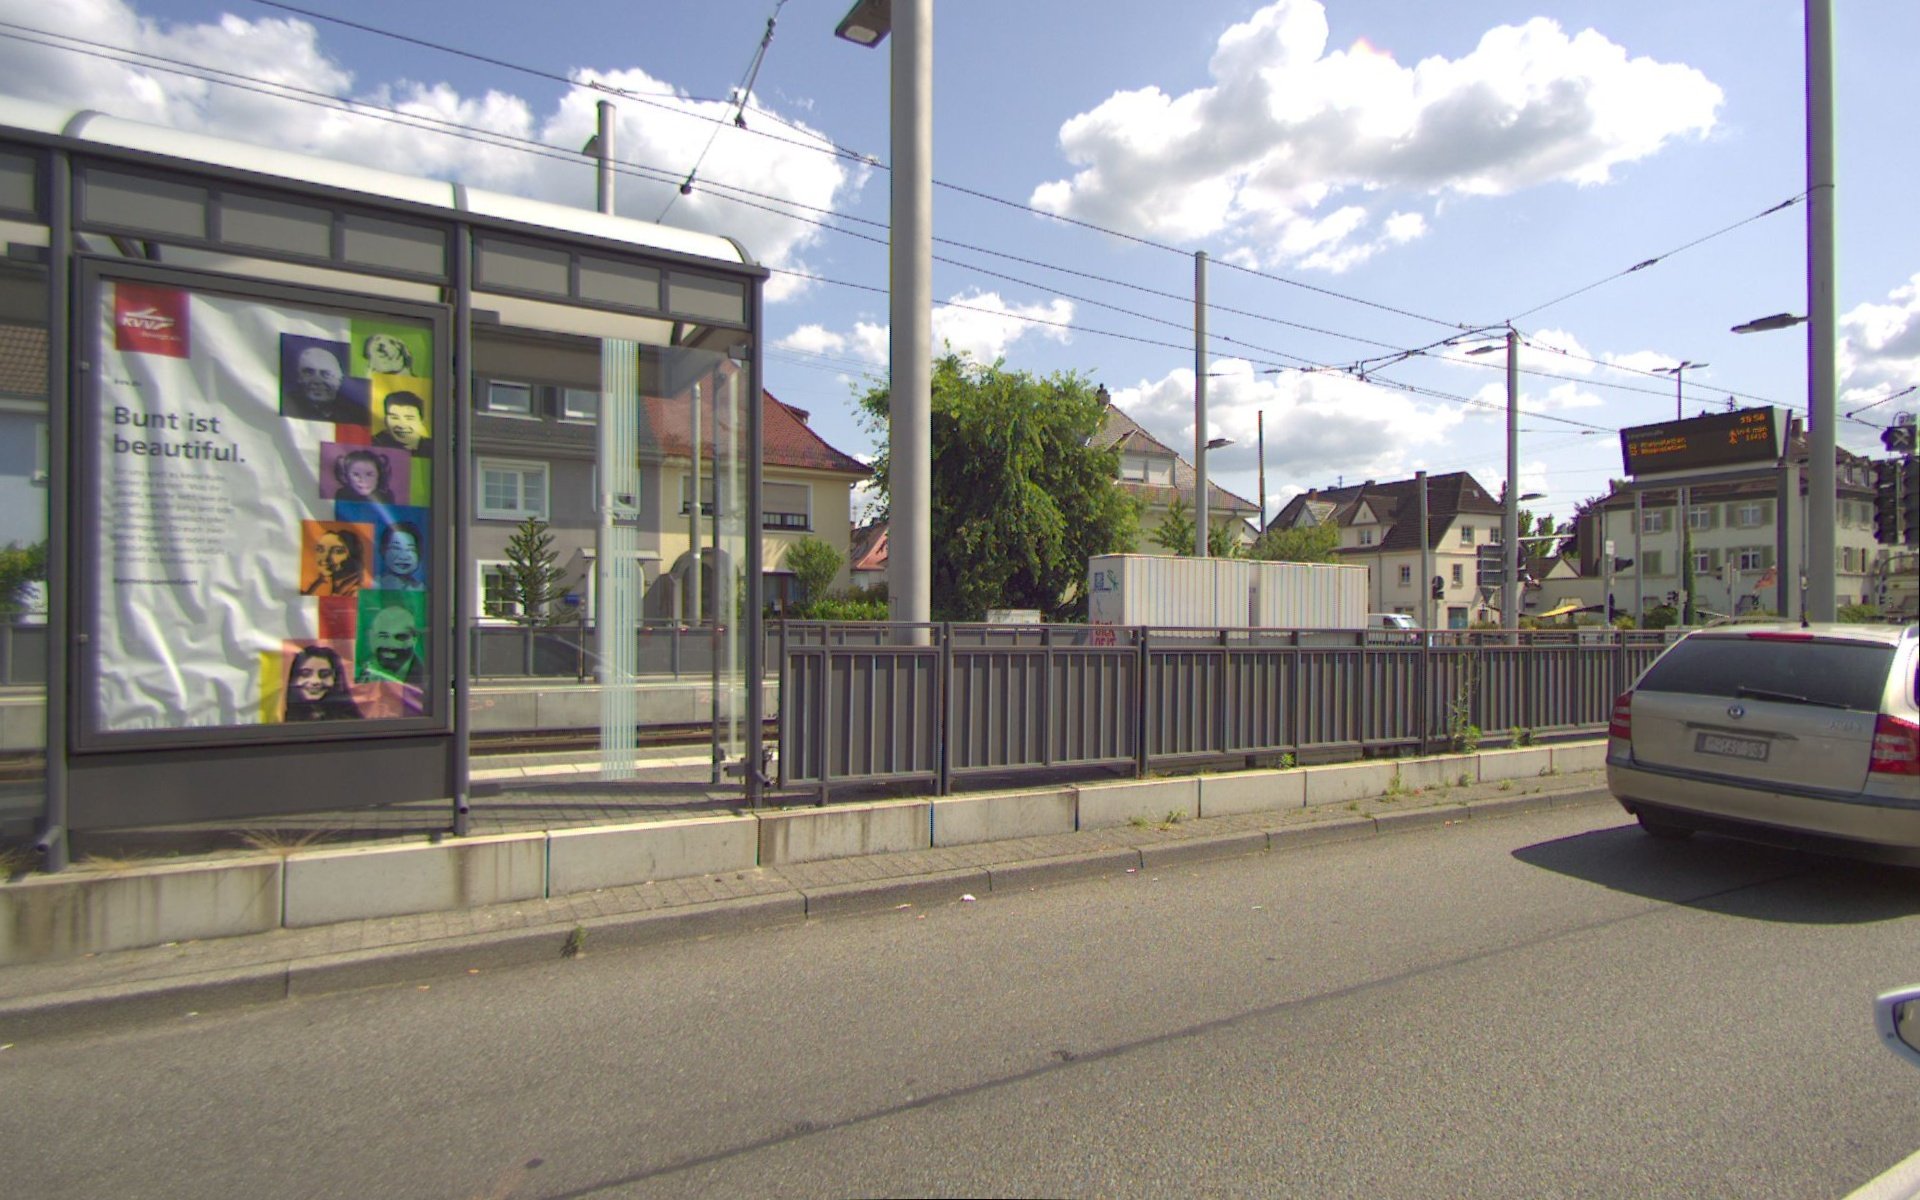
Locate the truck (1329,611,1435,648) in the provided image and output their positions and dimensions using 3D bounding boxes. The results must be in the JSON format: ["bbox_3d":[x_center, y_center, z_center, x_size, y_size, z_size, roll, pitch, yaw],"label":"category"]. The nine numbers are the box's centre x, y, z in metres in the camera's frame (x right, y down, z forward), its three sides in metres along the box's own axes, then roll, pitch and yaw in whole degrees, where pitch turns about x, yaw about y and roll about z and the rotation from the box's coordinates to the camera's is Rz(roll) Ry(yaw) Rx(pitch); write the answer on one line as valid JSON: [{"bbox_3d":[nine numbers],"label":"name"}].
[{"bbox_3d":[24.816,1.694,59.346,1.668,1.947,6.164,2,0,-26],"label":"truck"}]

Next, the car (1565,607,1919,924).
[{"bbox_3d":[5.924,0.842,6.473,4.075,1.468,1.722,2,0,-30],"label":"car"}]
